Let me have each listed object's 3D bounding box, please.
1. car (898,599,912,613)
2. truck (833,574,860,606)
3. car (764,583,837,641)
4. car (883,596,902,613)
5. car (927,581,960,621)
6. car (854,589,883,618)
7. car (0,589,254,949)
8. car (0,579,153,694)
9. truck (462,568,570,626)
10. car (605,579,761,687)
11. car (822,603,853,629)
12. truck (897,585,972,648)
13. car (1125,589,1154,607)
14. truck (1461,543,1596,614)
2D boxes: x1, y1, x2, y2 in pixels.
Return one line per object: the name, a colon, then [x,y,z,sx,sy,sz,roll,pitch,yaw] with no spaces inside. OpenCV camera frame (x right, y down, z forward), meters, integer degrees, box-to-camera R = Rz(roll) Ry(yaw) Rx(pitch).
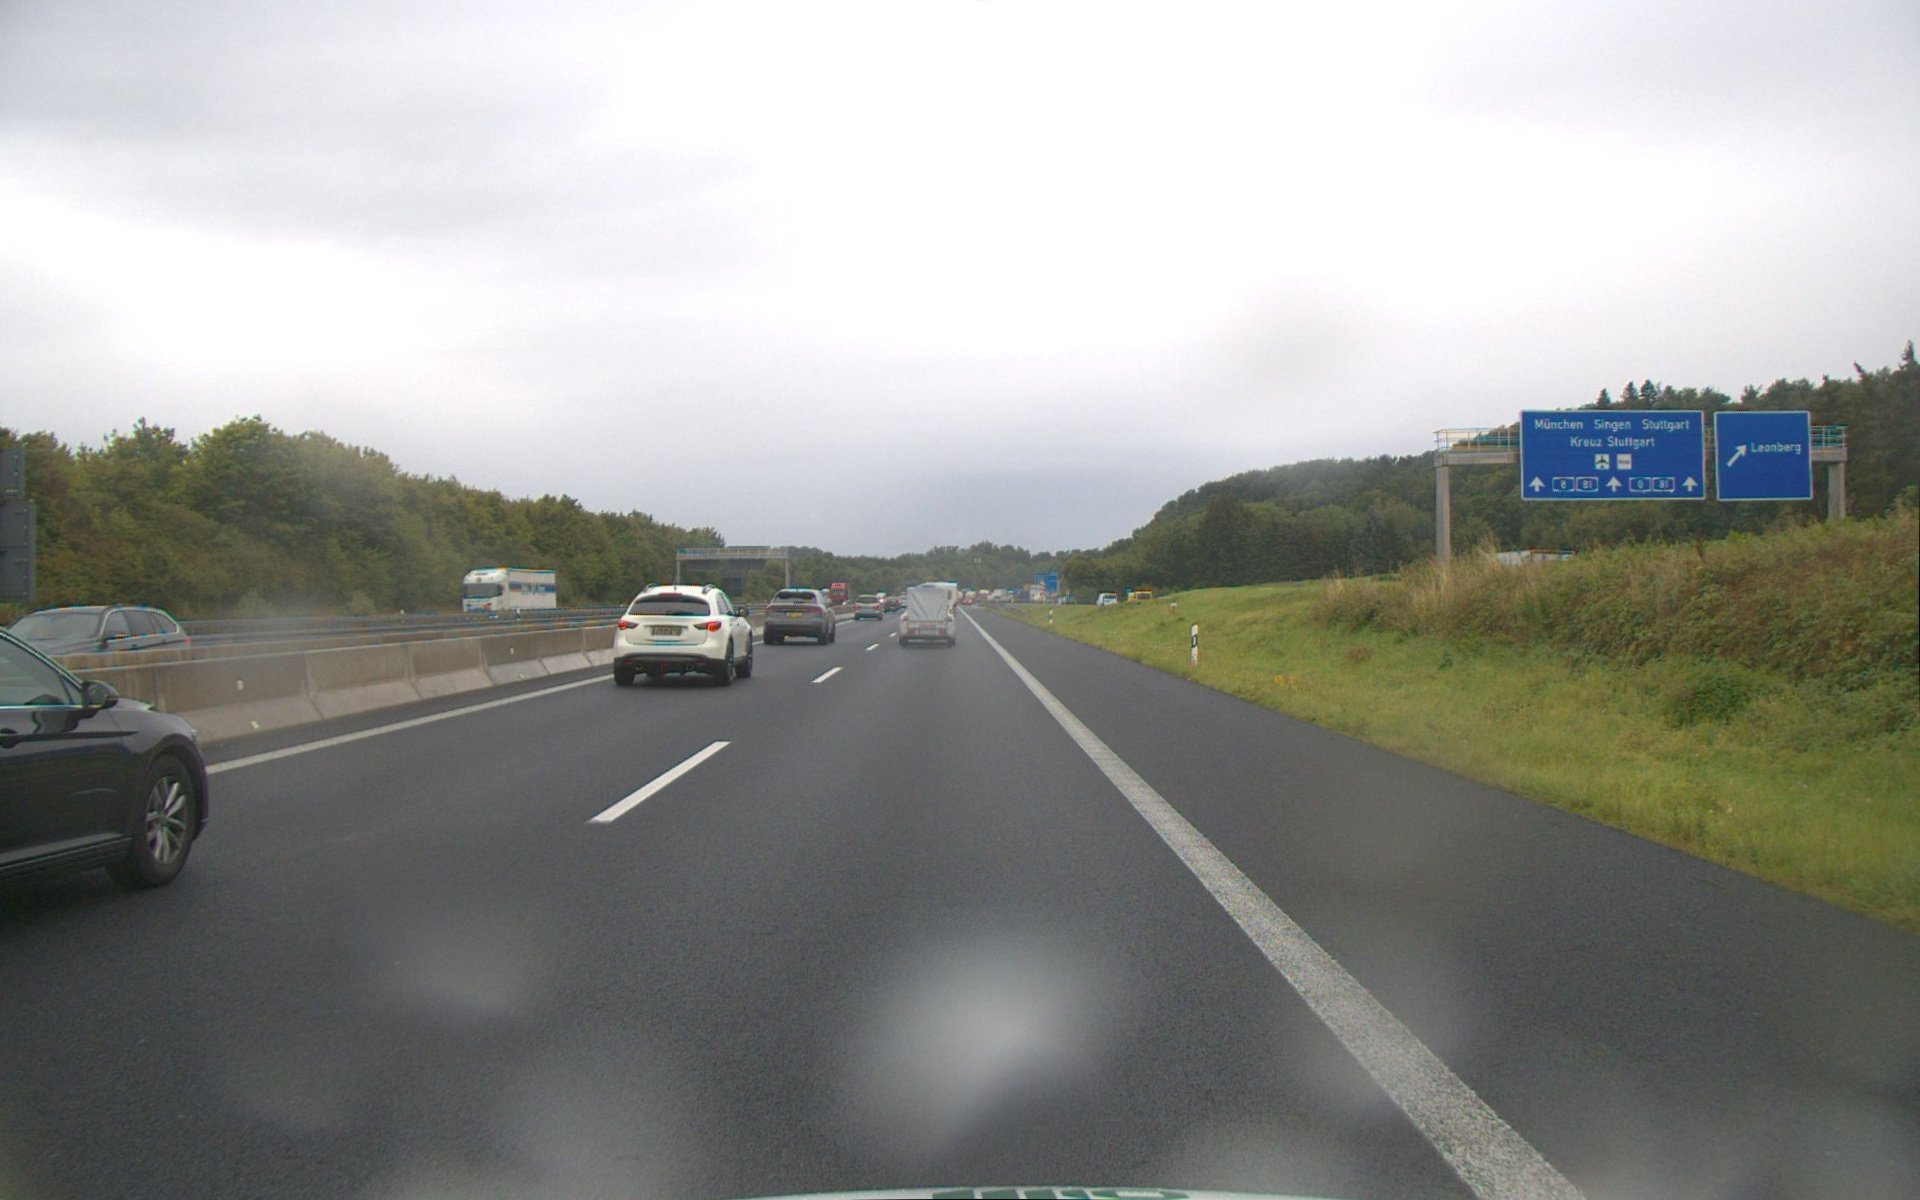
car: [-6.545,0.716,196.815,1.612,1.601,4.000,1,0,0]
truck: [-17.456,-1.565,255.299,3.330,4.816,10.485,1,0,0]
car: [-5.052,0.362,53.026,1.935,1.733,4.801,1,0,-1]
car: [-6.388,0.417,156.116,1.612,1.601,4.000,1,0,0]
car: [-1.191,0.061,120.245,2.284,2.773,6.539,1,0,0]
car: [-5.978,0.220,108.346,1.703,1.825,3.999,1,0,-1]
car: [-4.827,0.685,6.752,1.750,1.484,4.802,1,0,1]
car: [-12.639,0.453,21.751,1.818,1.416,4.445,-1,0,0]
truck: [-32.123,-0.205,120.697,3.112,3.875,17.134,-1,0,0]
car: [-4.713,0.525,28.753,2.007,1.700,4.540,1,0,-1]
car: [-8.195,1.063,110.958,1.782,1.691,4.017,0,0,0]
truck: [-0.832,0.485,52.646,2.197,1.871,6.583,1,0,-1]
car: [16.914,-0.188,156.378,1.955,1.579,3.995,1,0,-5]
truck: [32.055,-1.156,93.666,3.755,3.723,8.254,1,0,-9]
